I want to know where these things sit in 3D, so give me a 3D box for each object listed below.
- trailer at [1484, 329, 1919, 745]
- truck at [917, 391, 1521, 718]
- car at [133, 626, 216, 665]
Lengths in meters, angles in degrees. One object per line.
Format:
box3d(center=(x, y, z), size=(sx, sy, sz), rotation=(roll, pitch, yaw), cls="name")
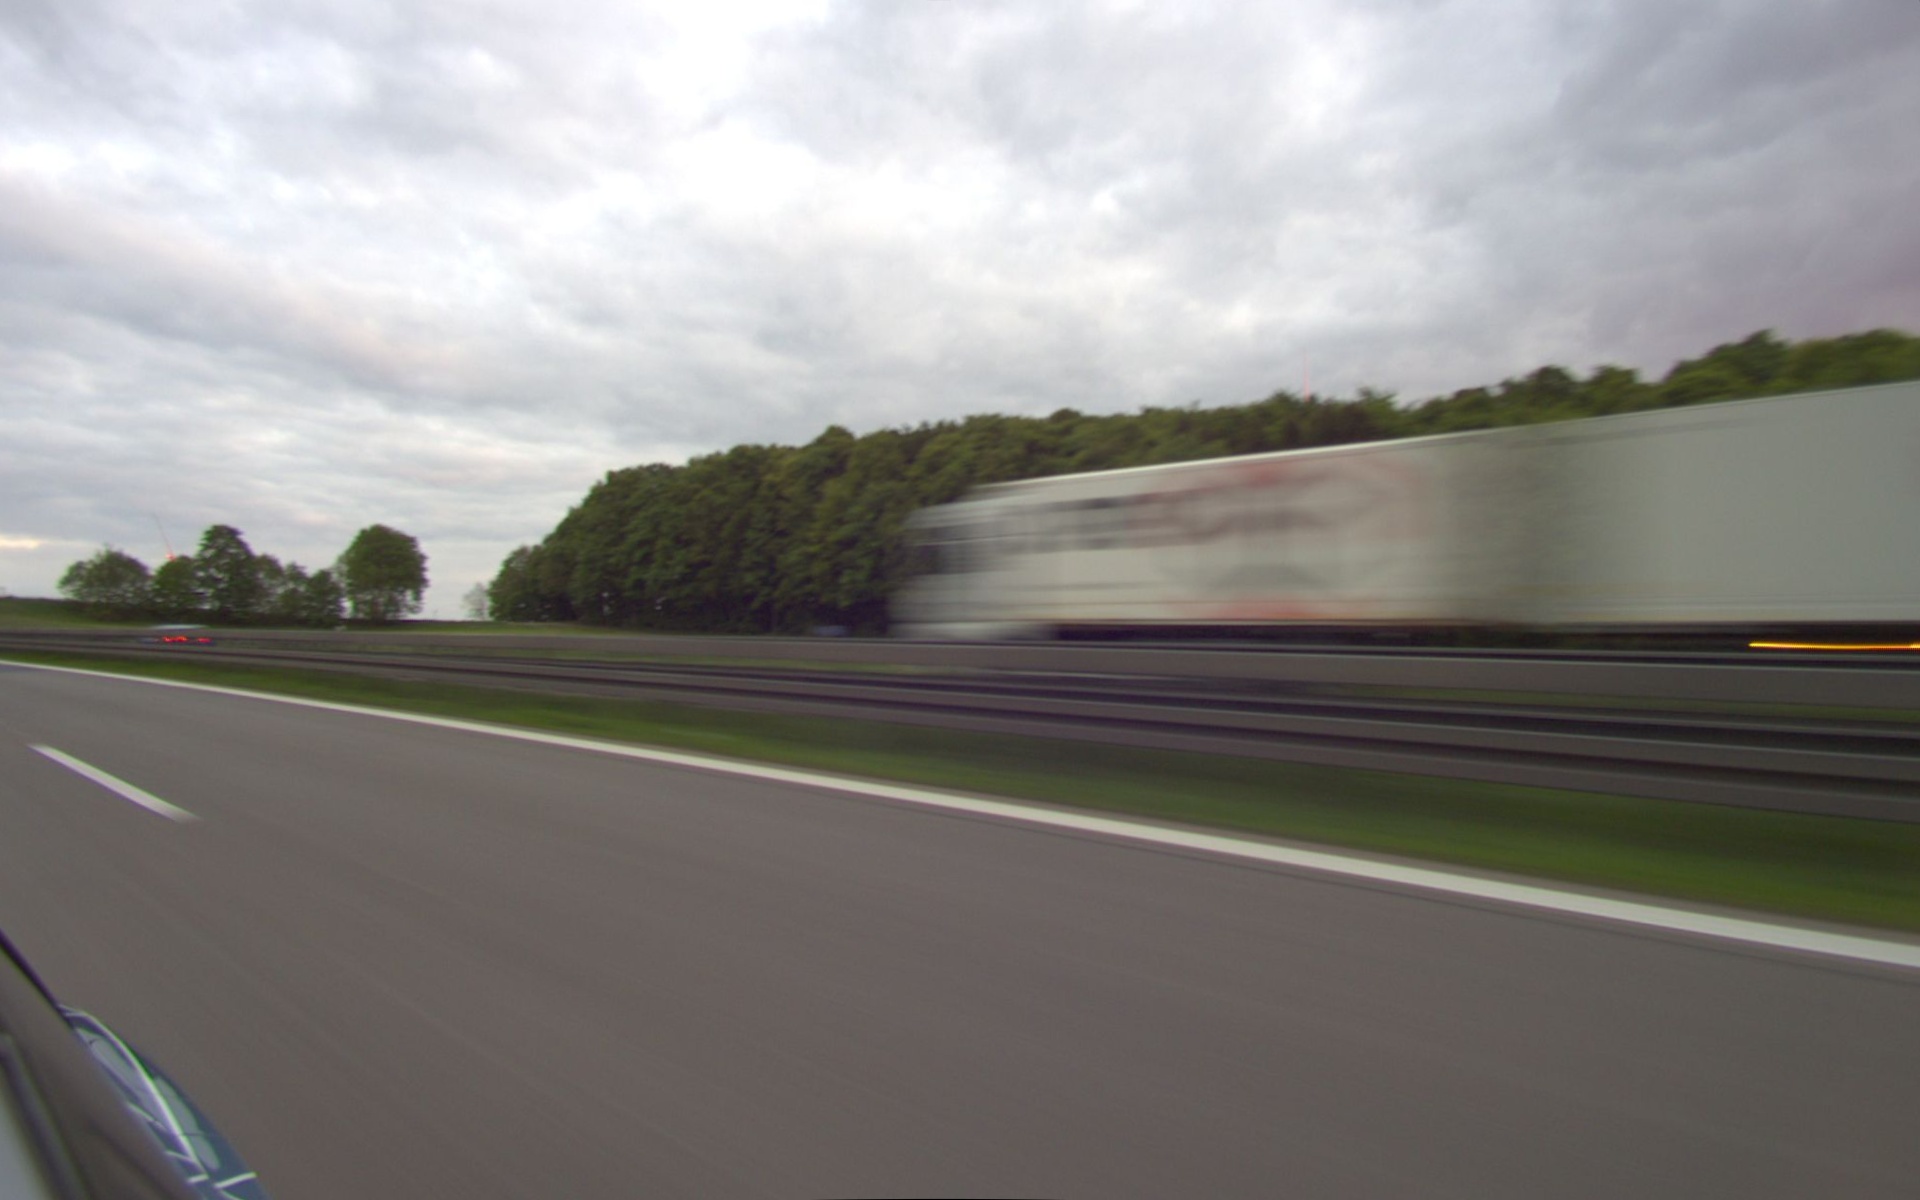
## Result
box3d(center=(11.340, -0.661, 11.334), size=(9.286, 4.350, 2.802), rotation=(-1, -1, 40), cls="trailer")
box3d(center=(3.863, -0.509, 17.762), size=(10.060, 4.313, 2.835), rotation=(-1, -1, 41), cls="truck")
box3d(center=(-33.421, 1.925, 43.015), size=(4.665, 1.562, 1.638), rotation=(-1, -3, 38), cls="car")
